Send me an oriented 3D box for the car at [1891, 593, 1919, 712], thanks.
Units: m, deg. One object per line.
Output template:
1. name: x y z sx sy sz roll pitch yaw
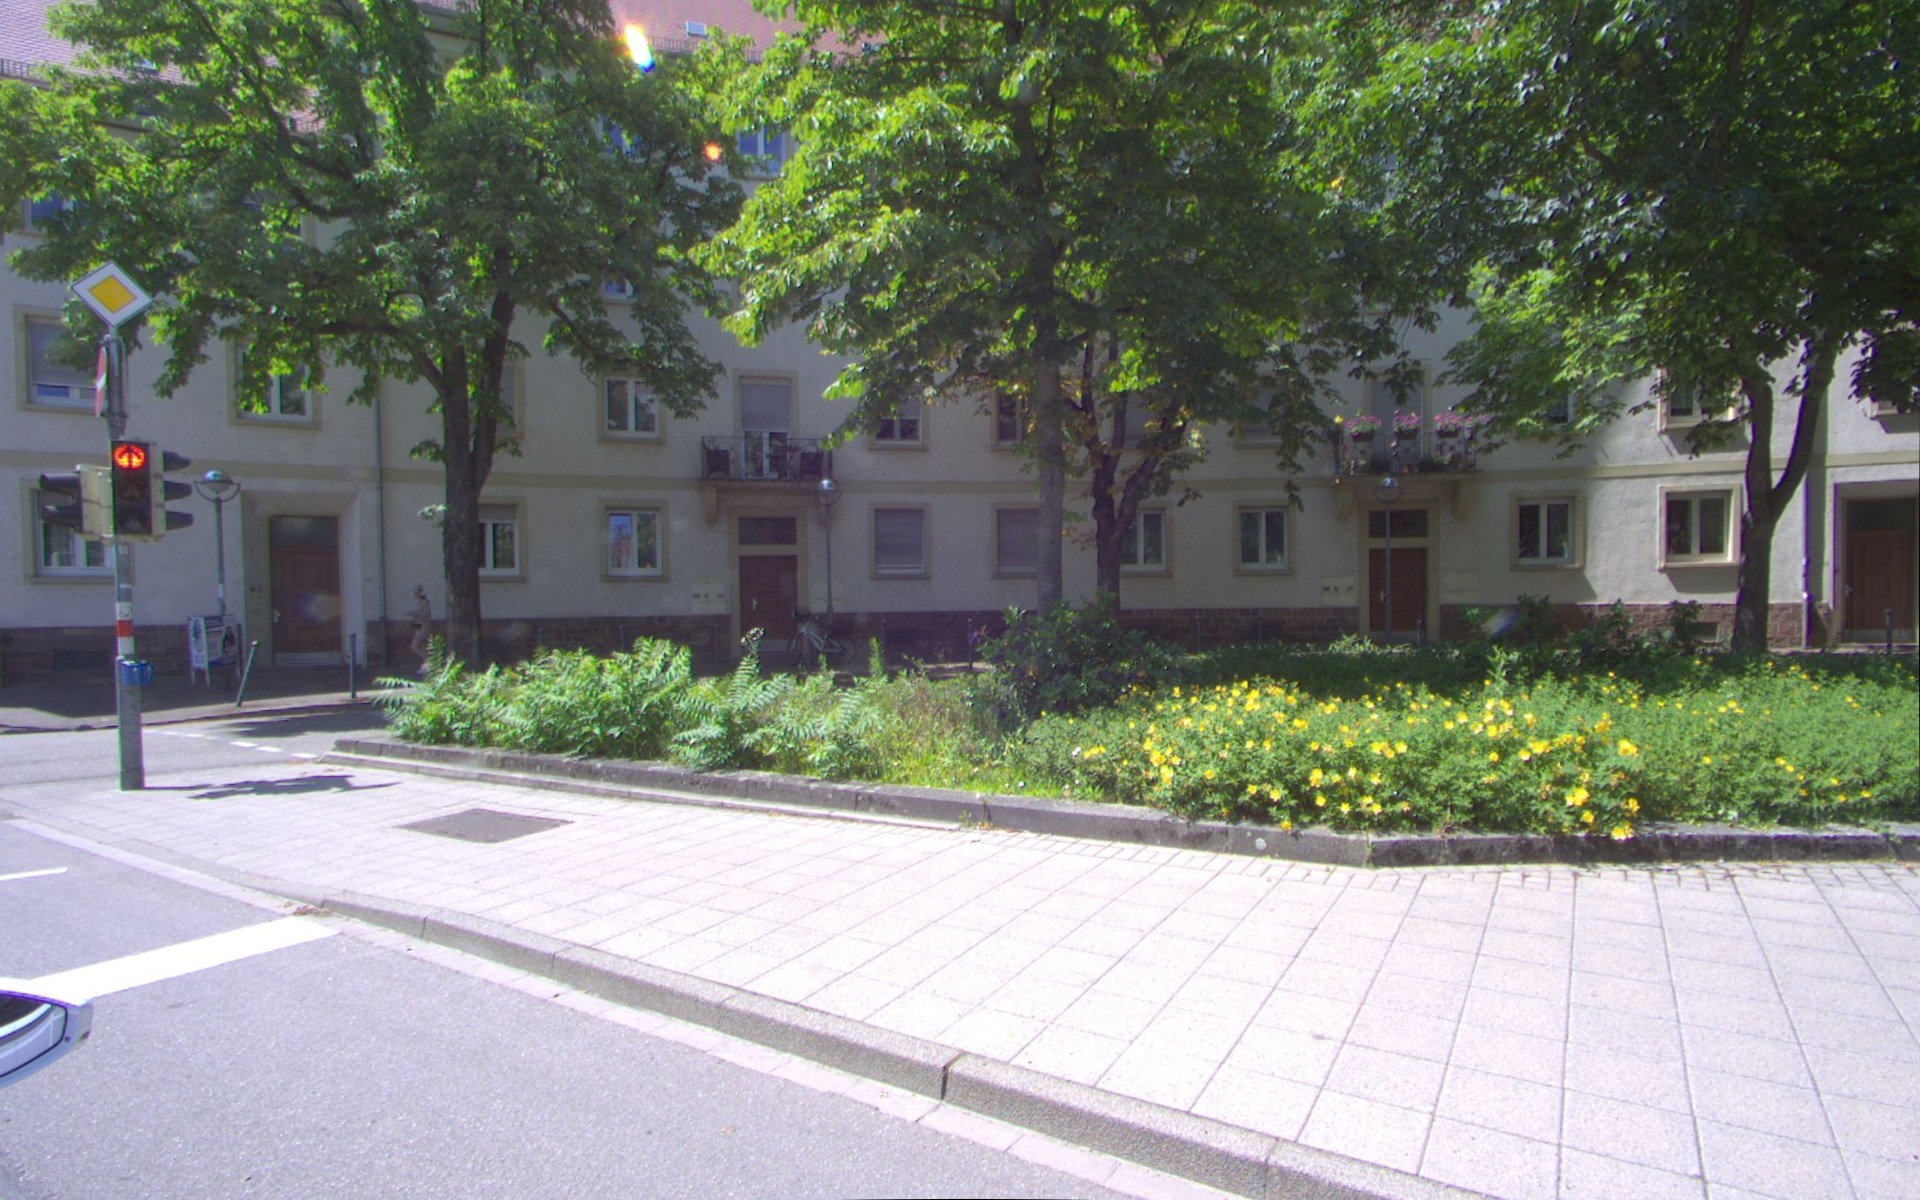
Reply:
1. car: 13.915 0.681 12.034 3.590 1.526 1.701 0 0 23

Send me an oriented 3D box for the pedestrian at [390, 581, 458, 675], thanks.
1. pedestrian: -10.416 0.523 19.496 1.040 1.715 0.650 -4 7 -26

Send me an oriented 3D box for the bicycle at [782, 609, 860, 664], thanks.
1. bicycle: -2.884 0.757 20.870 1.575 1.119 0.525 -1 1 -4
